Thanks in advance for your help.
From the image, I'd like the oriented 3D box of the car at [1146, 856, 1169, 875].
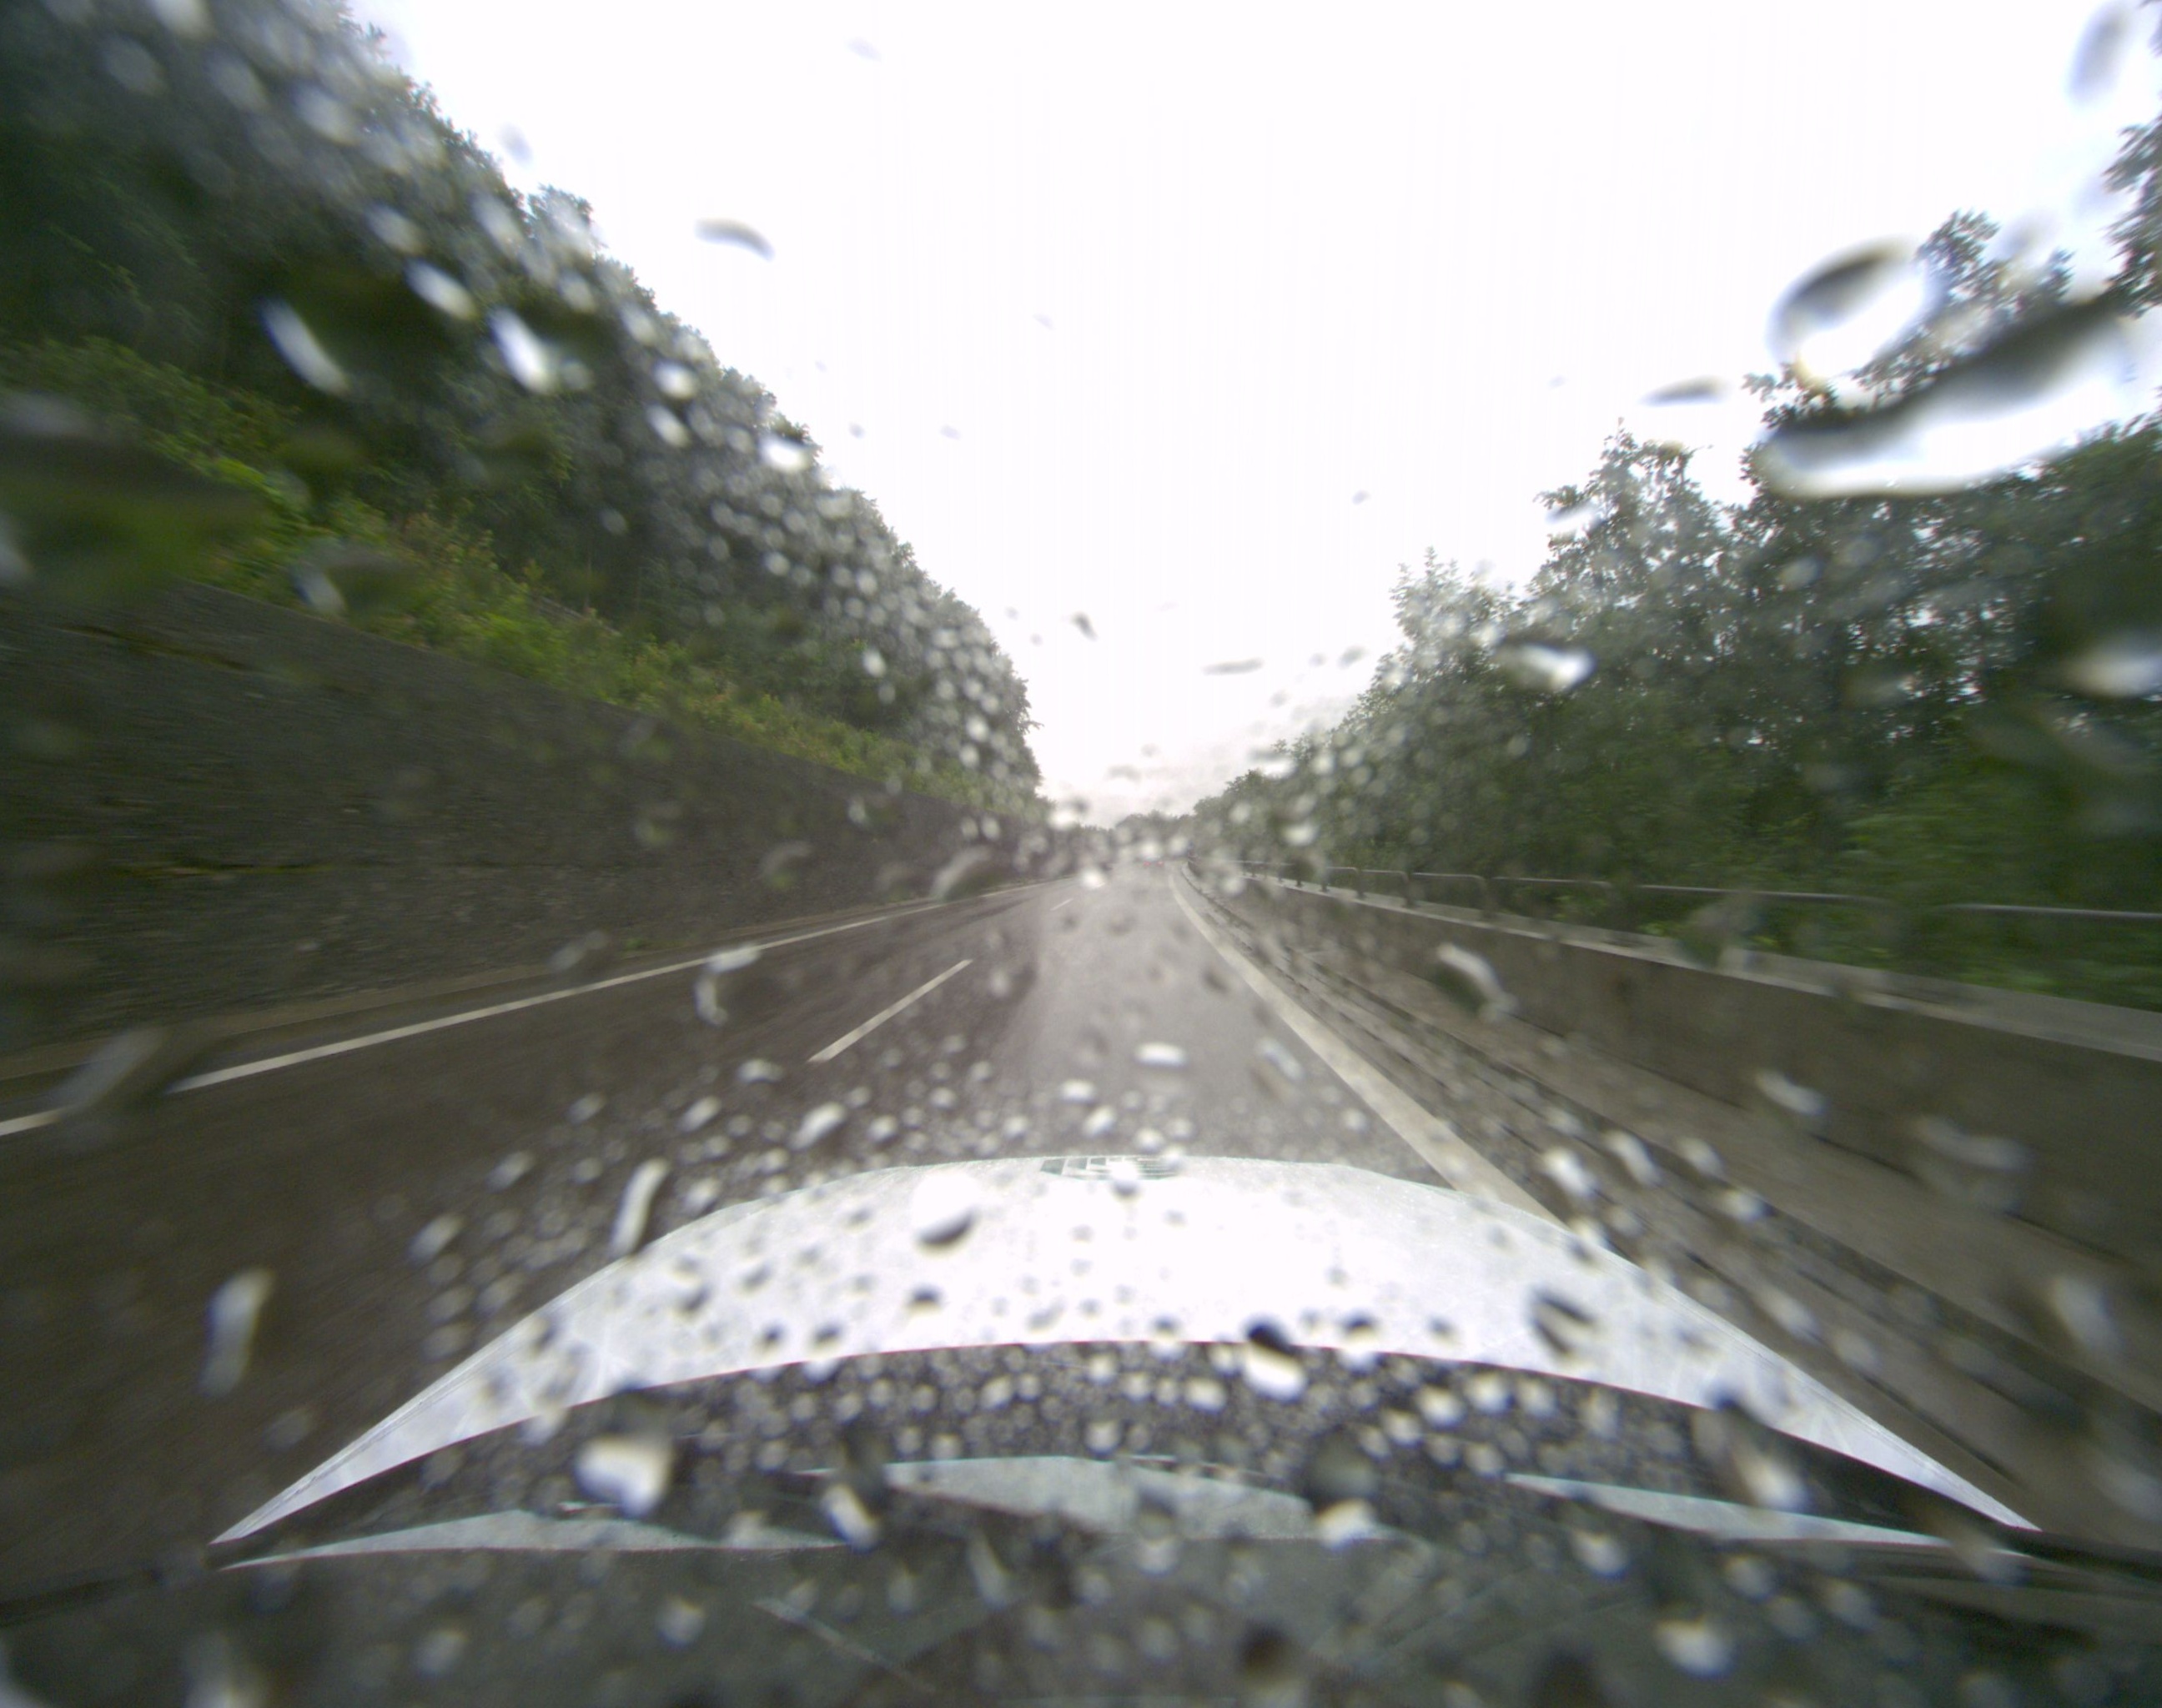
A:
[{"bbox_3d":[6.625,0.971,70.867,1.894,1.499,4.006,-2,-1,5],"label":"car"}]
